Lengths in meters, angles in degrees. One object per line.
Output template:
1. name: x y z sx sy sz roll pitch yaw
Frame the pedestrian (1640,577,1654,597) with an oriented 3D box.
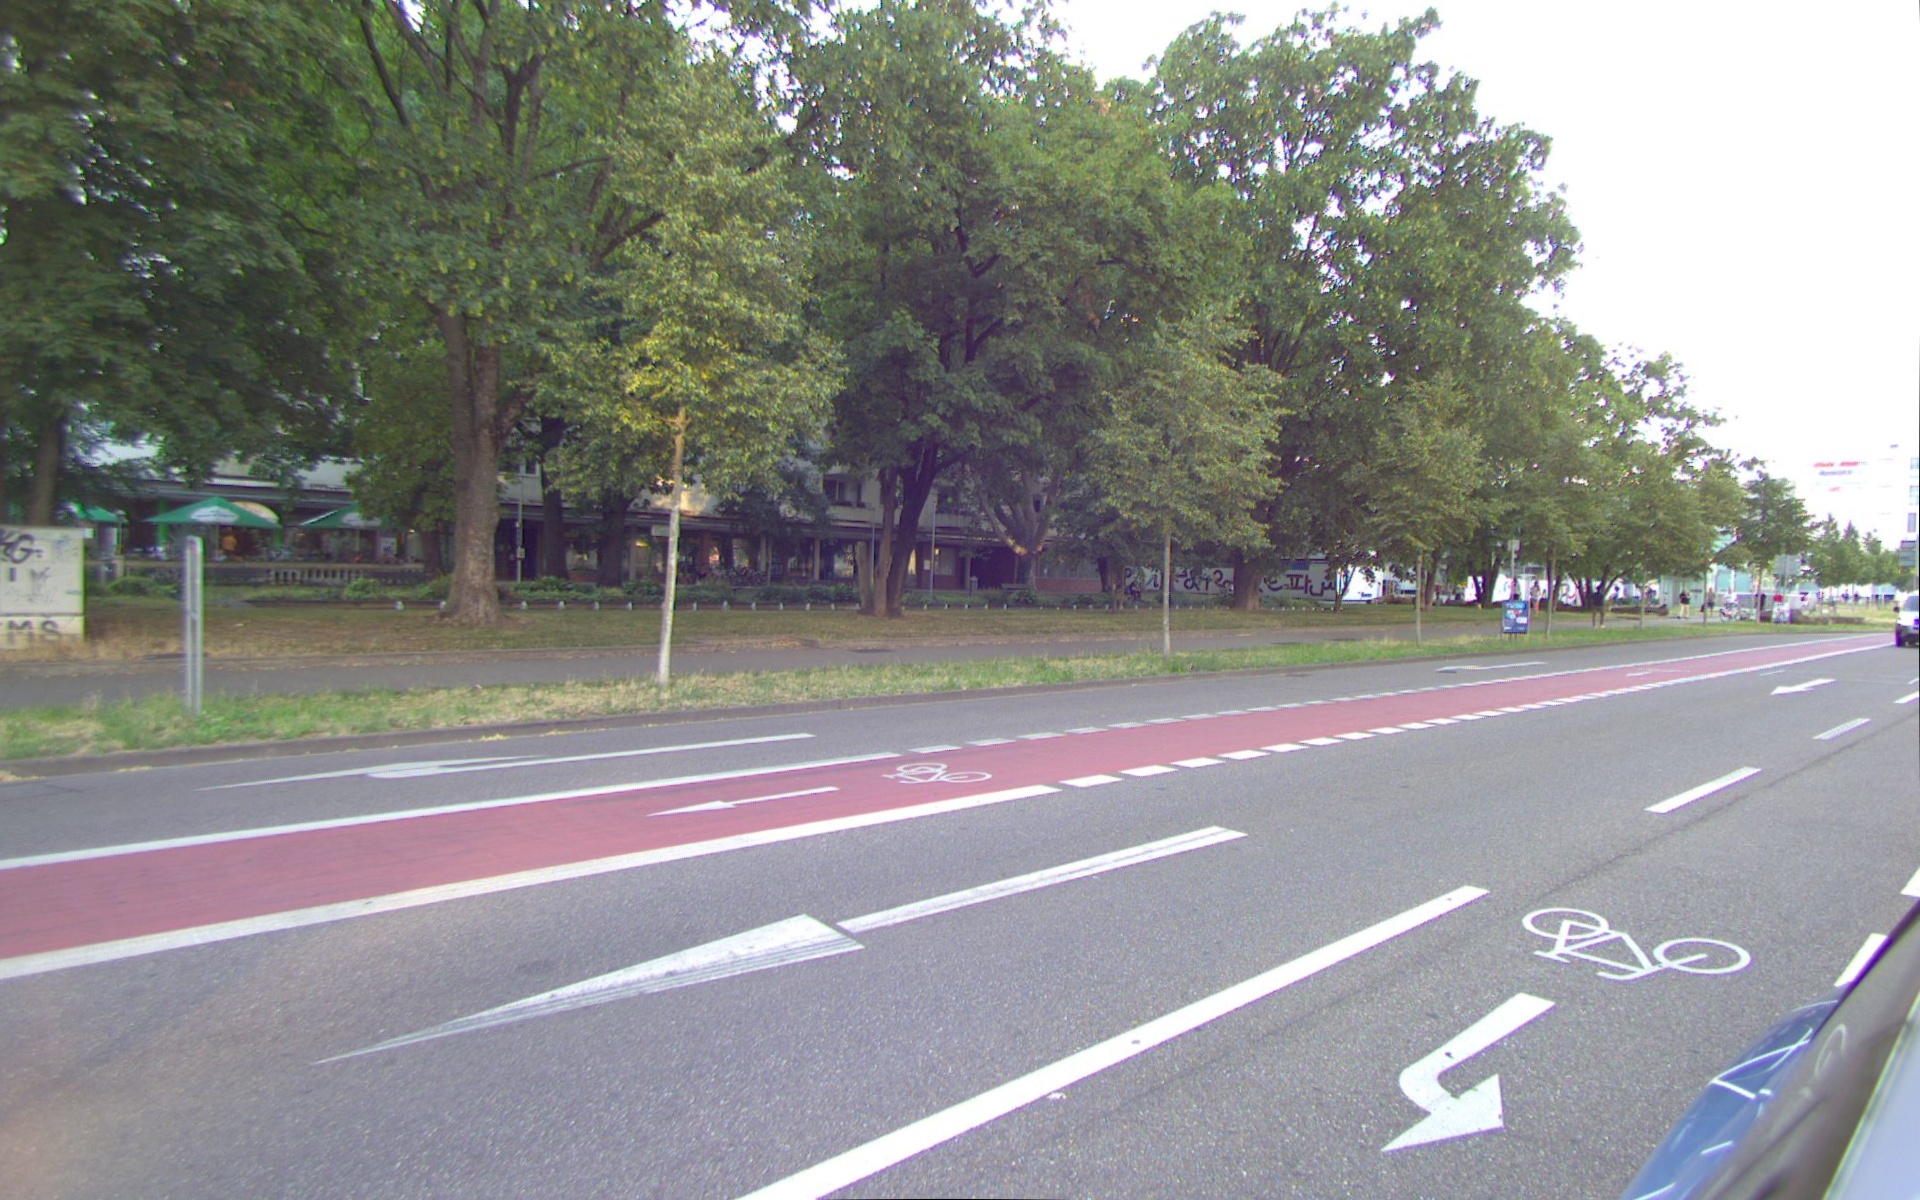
1. pedestrian: 48.995 -0.924 72.181 0.550 1.371 0.662 0 2 -40

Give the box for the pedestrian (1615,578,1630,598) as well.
1. pedestrian: 47.768 -0.880 72.967 0.604 1.371 0.728 0 2 -40

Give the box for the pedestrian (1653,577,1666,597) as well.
1. pedestrian: 50.136 -0.919 72.542 0.496 1.371 0.654 0 2 -40

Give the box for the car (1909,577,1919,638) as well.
1. car: 32.585 0.265 33.110 4.421 1.912 1.766 0 2 -41

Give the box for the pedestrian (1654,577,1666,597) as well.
1. pedestrian: 49.496 -0.900 71.557 0.759 1.371 0.519 0 2 -41

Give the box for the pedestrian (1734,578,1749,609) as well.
1. pedestrian: 44.123 -0.360 57.154 0.707 1.751 0.508 0 2 -40

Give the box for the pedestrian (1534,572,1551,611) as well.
1. pedestrian: 25.105 -0.368 43.616 0.359 1.621 0.500 1 2 -40

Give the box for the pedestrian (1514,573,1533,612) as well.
1. pedestrian: 24.020 -0.321 43.145 0.513 1.621 0.500 0 2 -41

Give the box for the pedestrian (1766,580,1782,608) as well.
1. pedestrian: 52.832 -0.370 65.692 0.497 1.779 0.638 0 2 -40

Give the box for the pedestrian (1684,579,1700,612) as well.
1. pedestrian: 39.524 -0.268 54.648 0.707 1.751 0.508 0 2 -40

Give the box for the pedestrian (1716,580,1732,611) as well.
1. pedestrian: 43.722 -0.255 57.925 0.707 1.751 0.519 0 2 -40

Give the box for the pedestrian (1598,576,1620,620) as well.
1. pedestrian: 26.242 -0.081 40.913 0.546 1.760 0.558 0 2 -41

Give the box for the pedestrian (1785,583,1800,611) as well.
1. pedestrian: 53.457 -0.194 64.994 0.497 1.779 0.638 0 2 -40
